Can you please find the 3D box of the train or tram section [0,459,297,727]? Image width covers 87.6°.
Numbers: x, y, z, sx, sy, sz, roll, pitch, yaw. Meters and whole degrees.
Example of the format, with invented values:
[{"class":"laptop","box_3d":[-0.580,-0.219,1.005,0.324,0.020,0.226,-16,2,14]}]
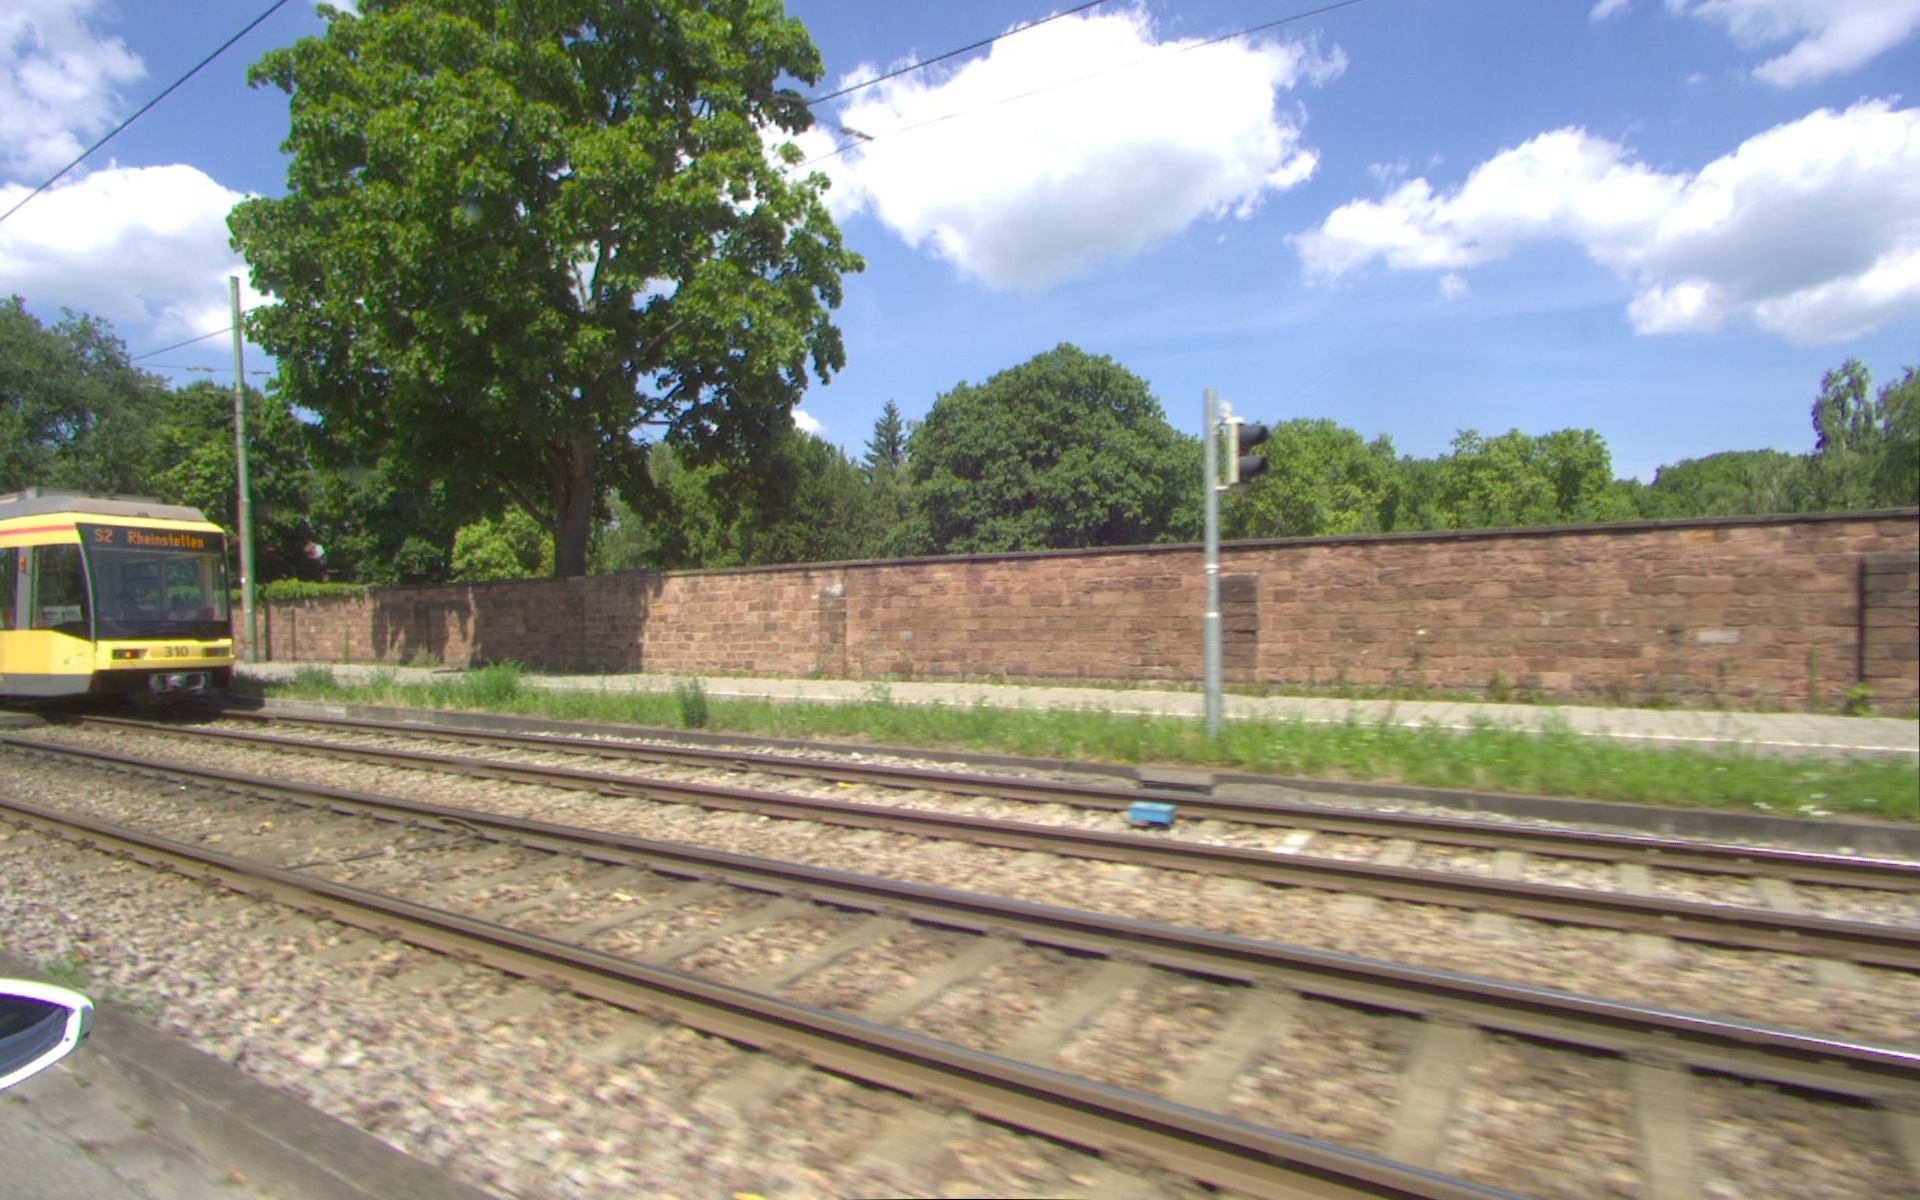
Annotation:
[{"class":"train or tram section","box_3d":[-19.471,0.022,19.919,18.117,3.739,2.940,-1,-1,31]}]
